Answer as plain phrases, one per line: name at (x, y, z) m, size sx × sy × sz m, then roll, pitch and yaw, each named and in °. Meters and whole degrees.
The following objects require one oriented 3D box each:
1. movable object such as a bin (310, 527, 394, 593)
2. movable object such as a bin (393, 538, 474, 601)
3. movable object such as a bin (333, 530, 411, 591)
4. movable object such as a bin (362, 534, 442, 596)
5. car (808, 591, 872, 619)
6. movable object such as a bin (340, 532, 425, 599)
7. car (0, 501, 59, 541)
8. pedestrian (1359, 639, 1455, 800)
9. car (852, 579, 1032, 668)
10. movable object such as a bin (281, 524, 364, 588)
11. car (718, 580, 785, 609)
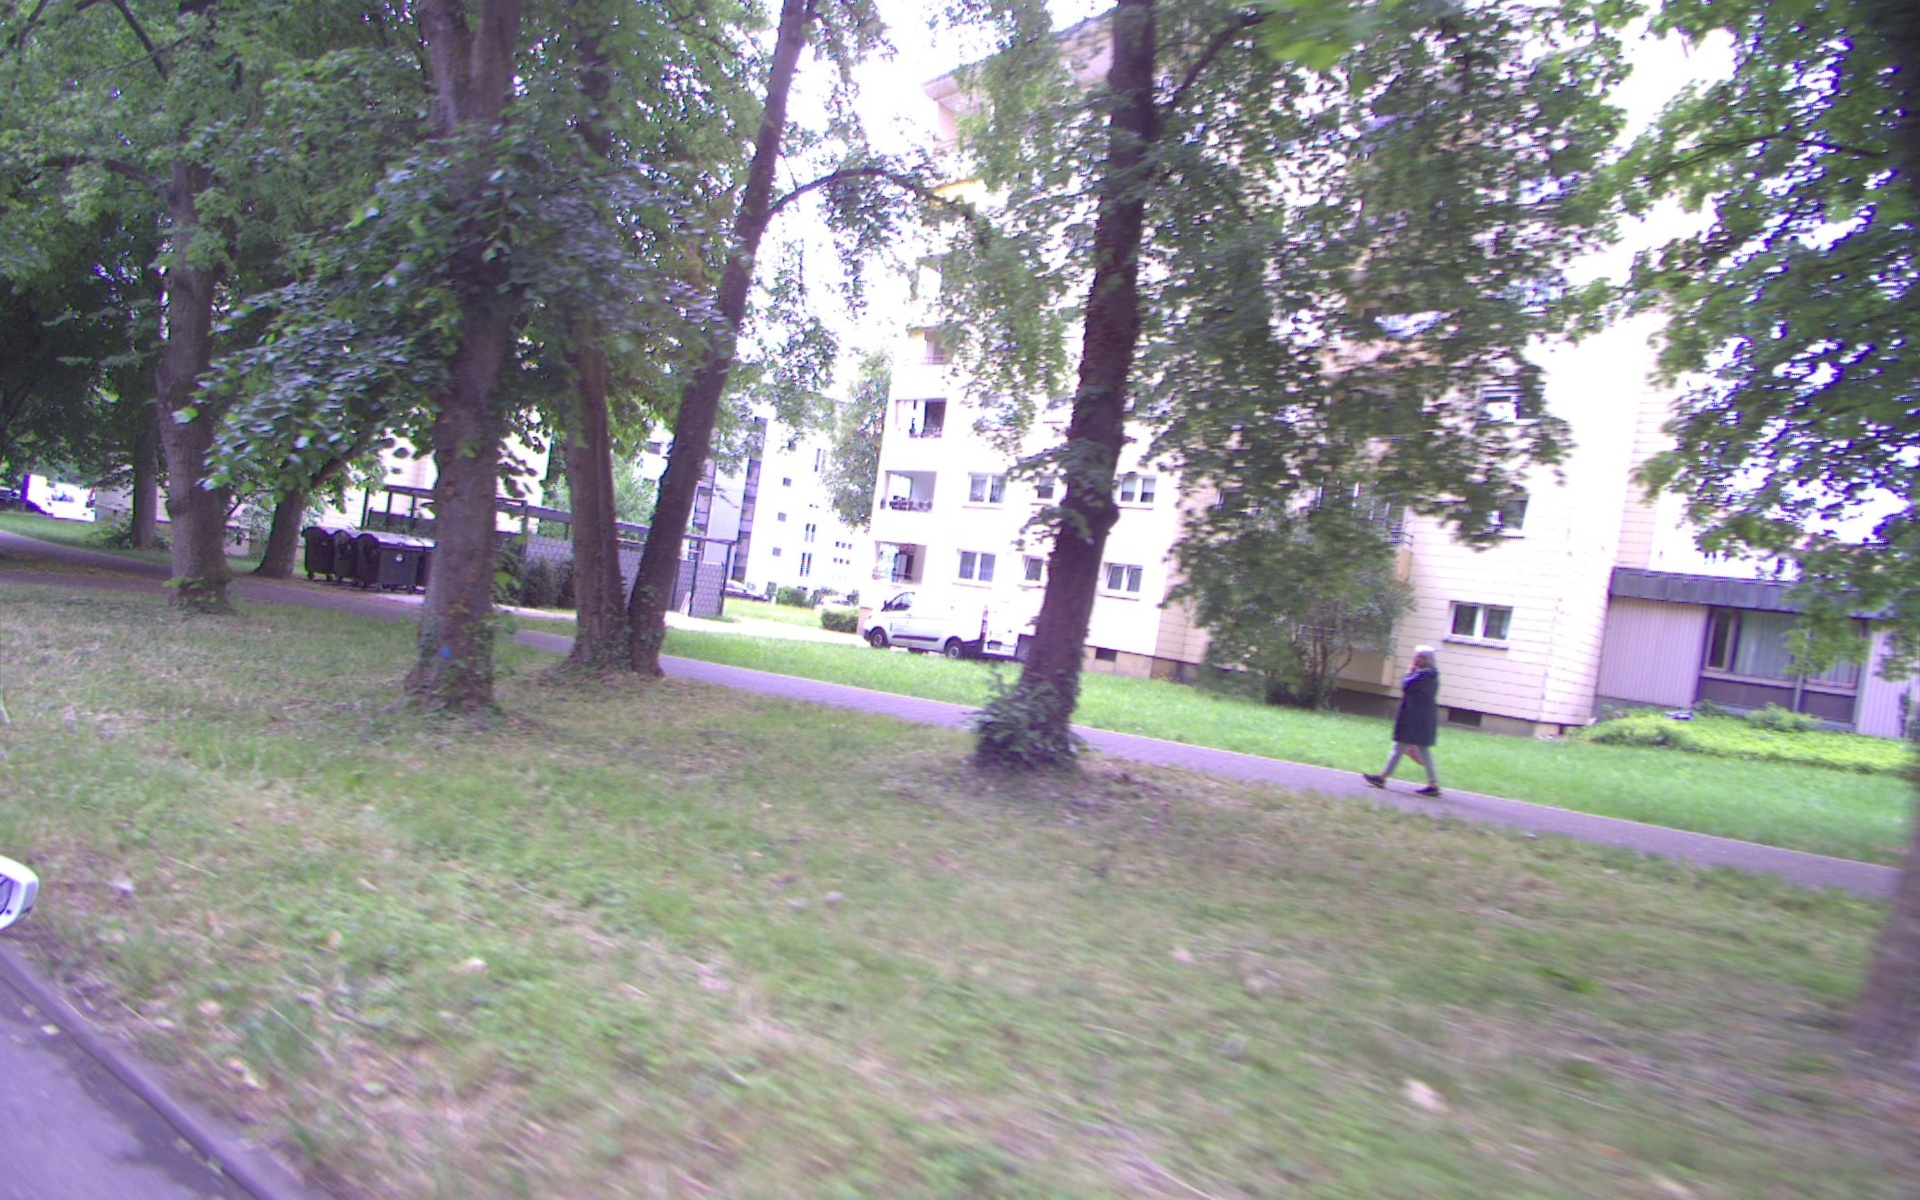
movable object such as a bin at (-16.207, -1.059, 26.828) m, size 1.291 × 1.520 × 1.329 m, roll 7°, pitch 1°, yaw 27°
movable object such as a bin at (-14.392, -0.827, 27.528) m, size 1.291 × 1.520 × 1.329 m, roll 7°, pitch 1°, yaw 27°
movable object such as a bin at (-16.796, -1.123, 28.750) m, size 1.291 × 1.520 × 1.329 m, roll 7°, pitch 1°, yaw 27°
movable object such as a bin at (-15.610, -0.974, 28.162) m, size 1.291 × 1.520 × 1.329 m, roll 7°, pitch 1°, yaw 27°
car at (-8.751, 0.376, 73.329) m, size 4.270 × 1.528 × 1.794 m, roll 7°, pitch -1°, yaw -16°
movable object such as a bin at (-15.042, -0.899, 26.223) m, size 1.291 × 1.520 × 1.329 m, roll 7°, pitch 1°, yaw 27°
car at (-54.475, -4.674, 57.595) m, size 3.969 × 1.746 × 1.782 m, roll 10°, pitch 0°, yaw -36°
pedestrian at (5.238, 1.367, 11.769) m, size 0.800 × 1.708 × 0.769 m, roll 7°, pitch 1°, yaw 28°
car at (-0.589, 0.663, 29.343) m, size 4.892 × 1.866 × 2.085 m, roll 8°, pitch 1°, yaw 38°
movable object such as a bin at (-17.370, -1.191, 27.429) m, size 1.291 × 1.520 × 1.329 m, roll 7°, pitch 1°, yaw 27°
car at (-14.809, -0.402, 71.392) m, size 4.280 × 1.528 × 1.790 m, roll 7°, pitch -1°, yaw -24°
